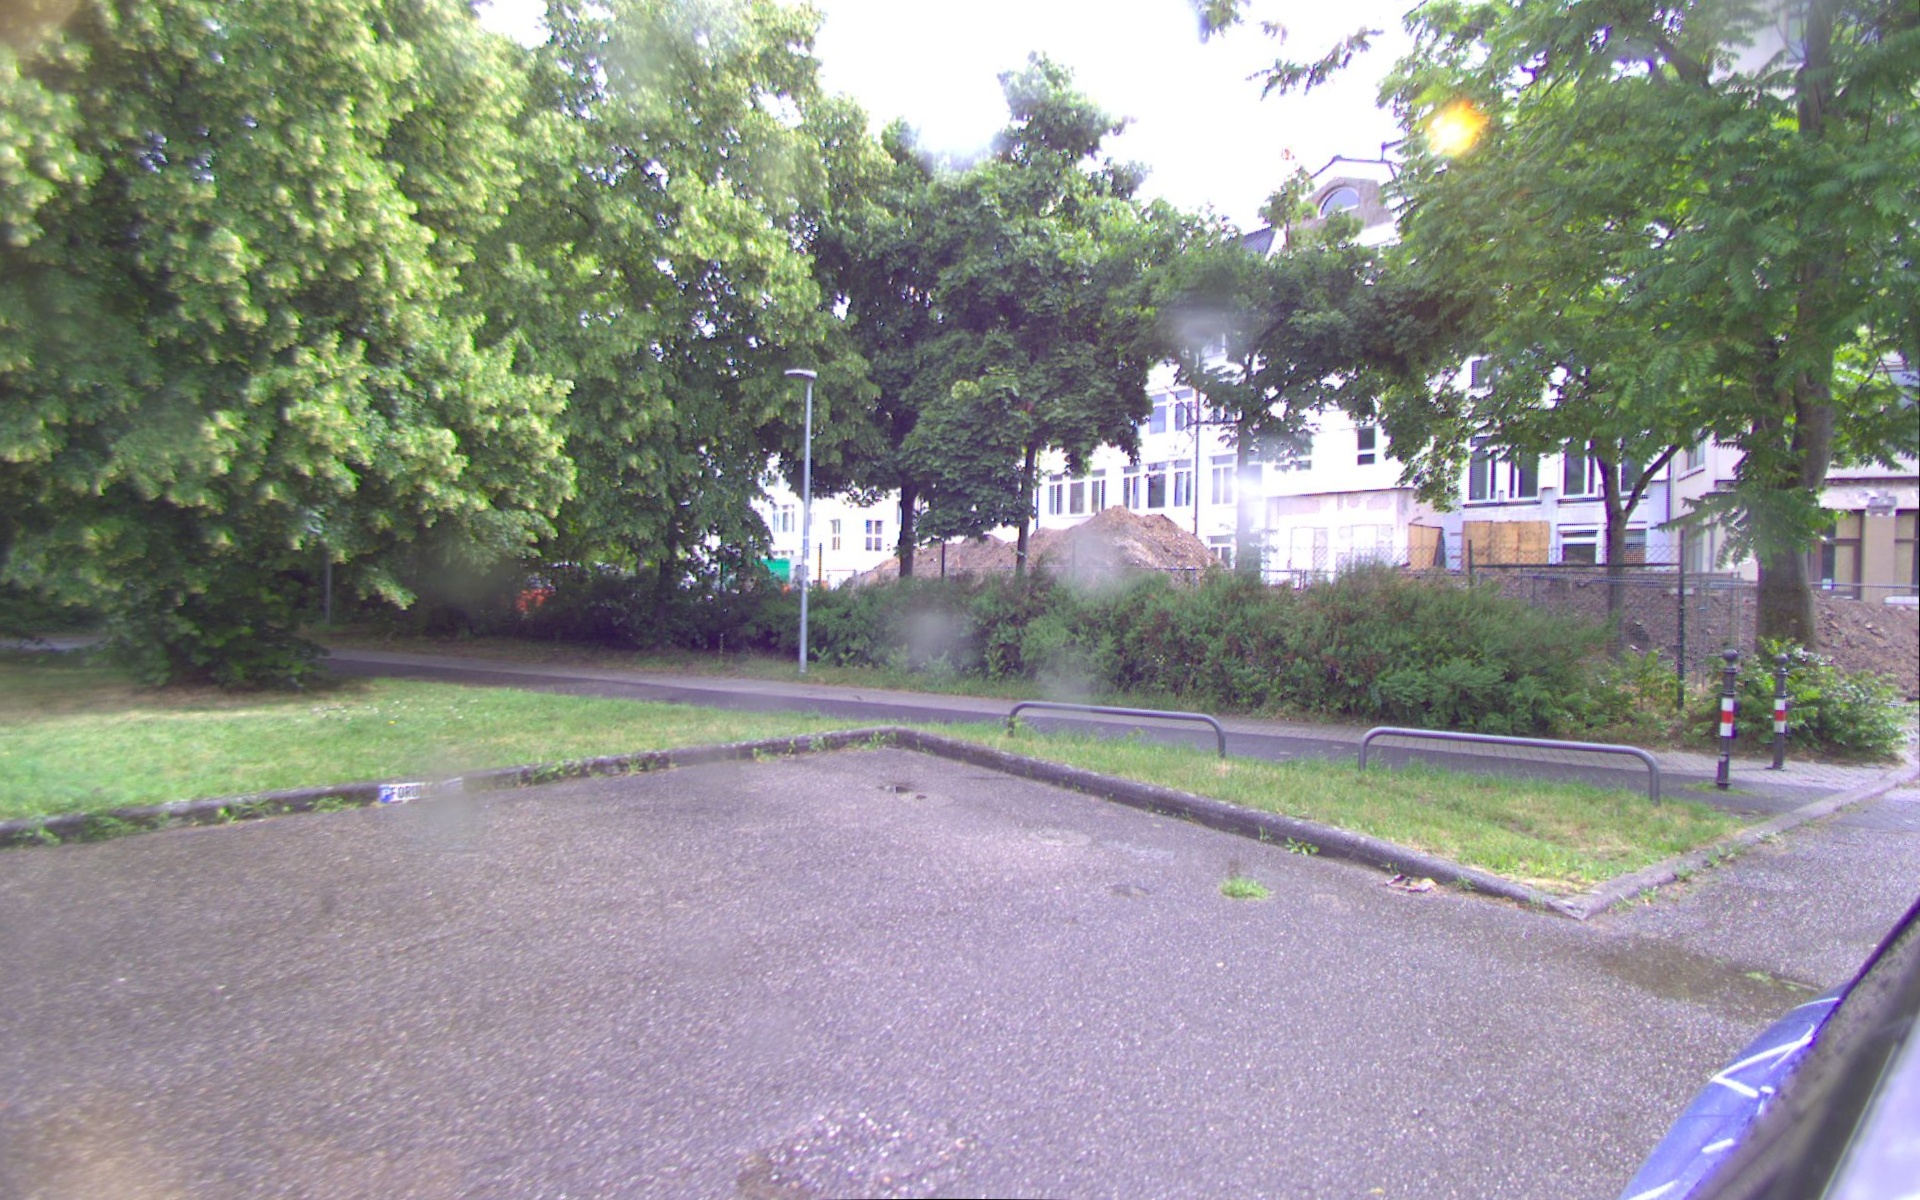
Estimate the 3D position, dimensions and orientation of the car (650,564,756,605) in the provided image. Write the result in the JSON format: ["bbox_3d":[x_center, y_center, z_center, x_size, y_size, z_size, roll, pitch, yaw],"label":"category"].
[{"bbox_3d":[-13.117,-0.795,51.720,4.700,1.964,2.402,0,2,-38],"label":"car"}]
